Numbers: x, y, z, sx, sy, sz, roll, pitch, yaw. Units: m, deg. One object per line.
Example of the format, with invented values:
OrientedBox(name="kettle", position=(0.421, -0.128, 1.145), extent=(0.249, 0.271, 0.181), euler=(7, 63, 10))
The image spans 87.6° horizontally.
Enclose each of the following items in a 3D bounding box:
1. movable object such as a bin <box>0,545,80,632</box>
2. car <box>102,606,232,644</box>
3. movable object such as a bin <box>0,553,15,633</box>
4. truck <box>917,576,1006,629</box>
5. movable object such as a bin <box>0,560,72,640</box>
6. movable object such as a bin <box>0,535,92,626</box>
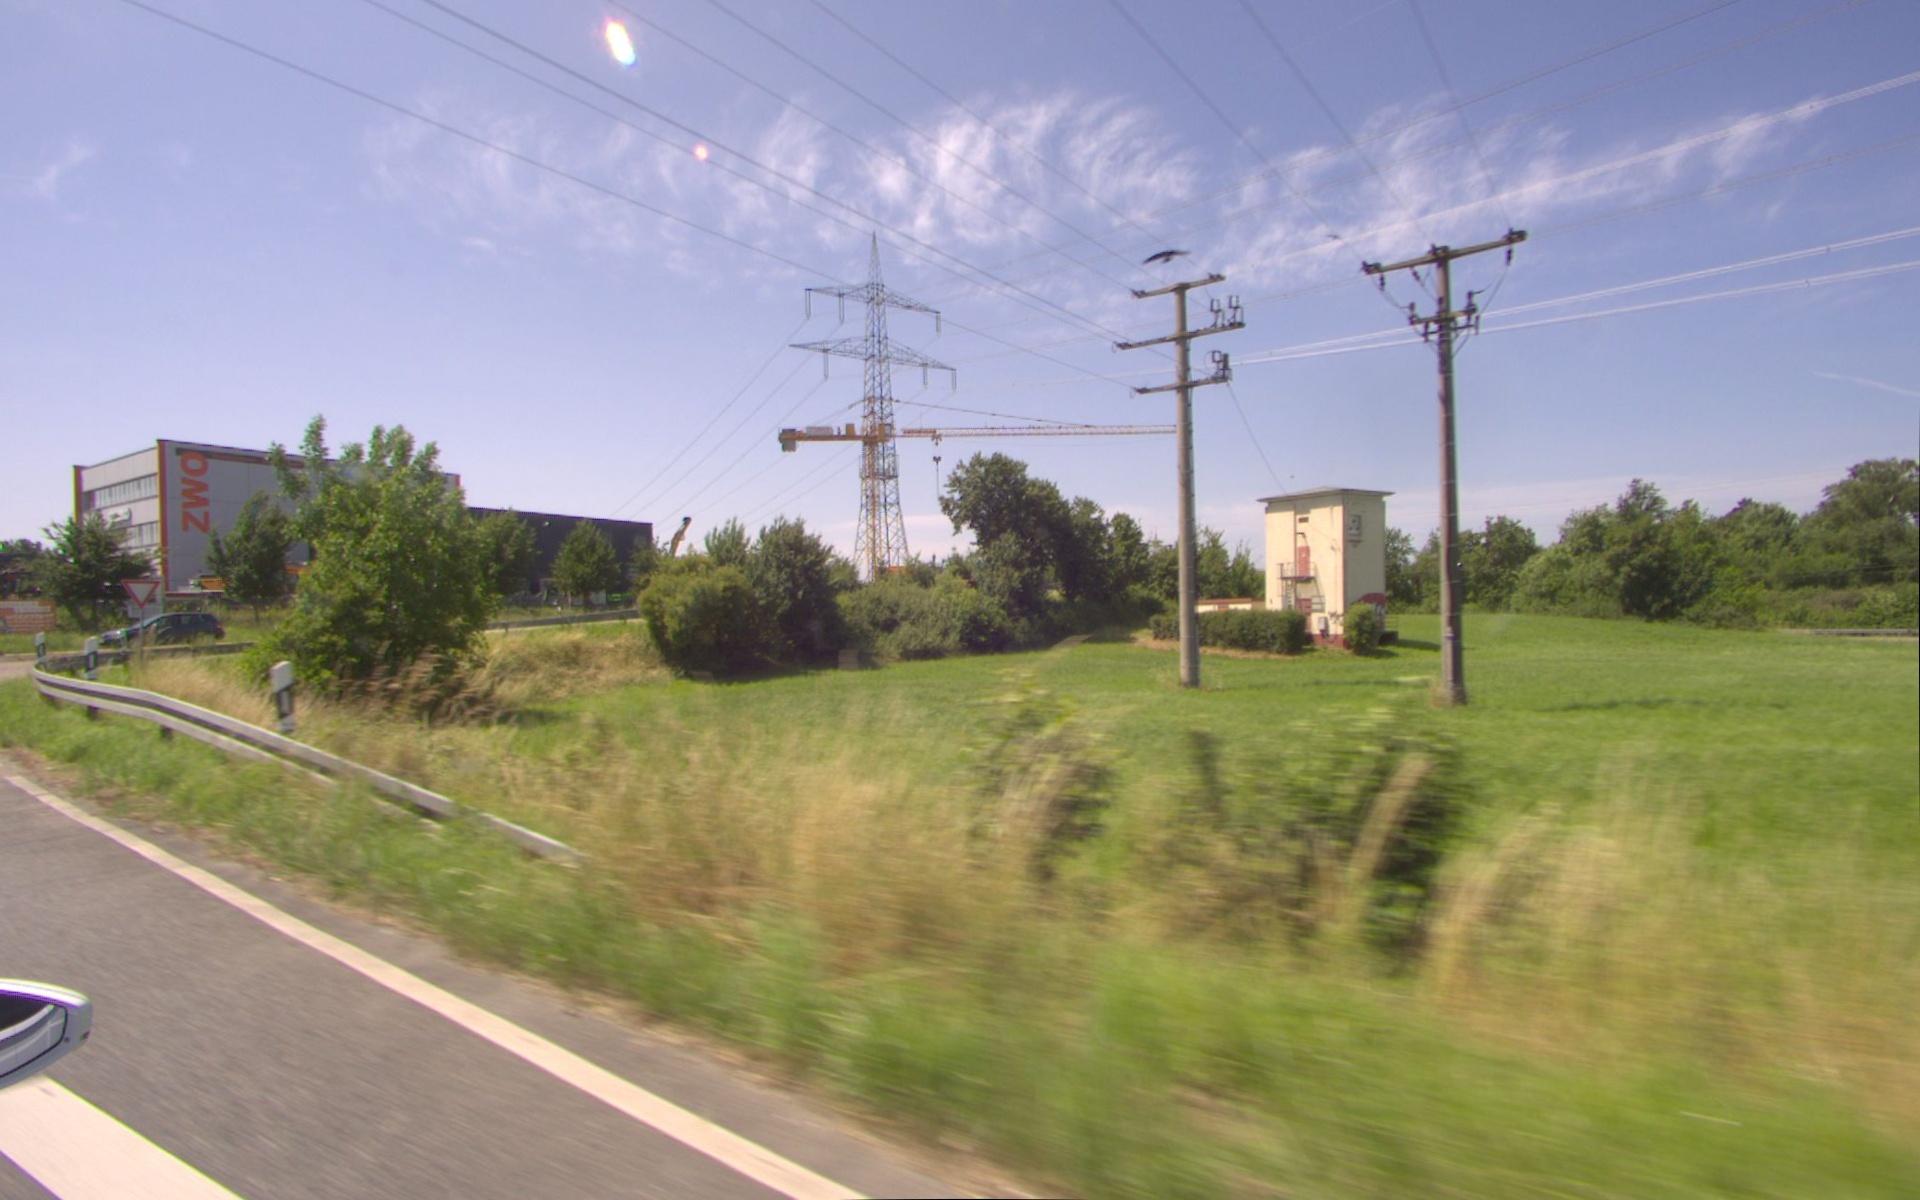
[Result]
OrientedBox(name="movable object such as a bin", position=(-60.050, -0.671, 62.795), extent=(3.754, 5.211, 6.579), euler=(-3, -3, 33))
OrientedBox(name="car", position=(-33.457, 1.032, 42.341), extent=(1.612, 1.460, 3.989), euler=(-1, 1, 32))
OrientedBox(name="movable object such as a bin", position=(-67.719, -0.519, 67.168), extent=(3.177, 5.334, 5.706), euler=(-3, -3, 33))
OrientedBox(name="truck", position=(0.288, 0.313, 88.469), extent=(3.269, 4.234, 9.656), euler=(-3, -3, 31))
OrientedBox(name="movable object such as a bin", position=(-53.943, 0.051, 56.612), extent=(2.796, 4.327, 5.075), euler=(-3, -3, 33))
OrientedBox(name="movable object such as a bin", position=(-56.860, -1.121, 60.655), extent=(3.066, 5.168, 5.908), euler=(-3, -3, 33))
